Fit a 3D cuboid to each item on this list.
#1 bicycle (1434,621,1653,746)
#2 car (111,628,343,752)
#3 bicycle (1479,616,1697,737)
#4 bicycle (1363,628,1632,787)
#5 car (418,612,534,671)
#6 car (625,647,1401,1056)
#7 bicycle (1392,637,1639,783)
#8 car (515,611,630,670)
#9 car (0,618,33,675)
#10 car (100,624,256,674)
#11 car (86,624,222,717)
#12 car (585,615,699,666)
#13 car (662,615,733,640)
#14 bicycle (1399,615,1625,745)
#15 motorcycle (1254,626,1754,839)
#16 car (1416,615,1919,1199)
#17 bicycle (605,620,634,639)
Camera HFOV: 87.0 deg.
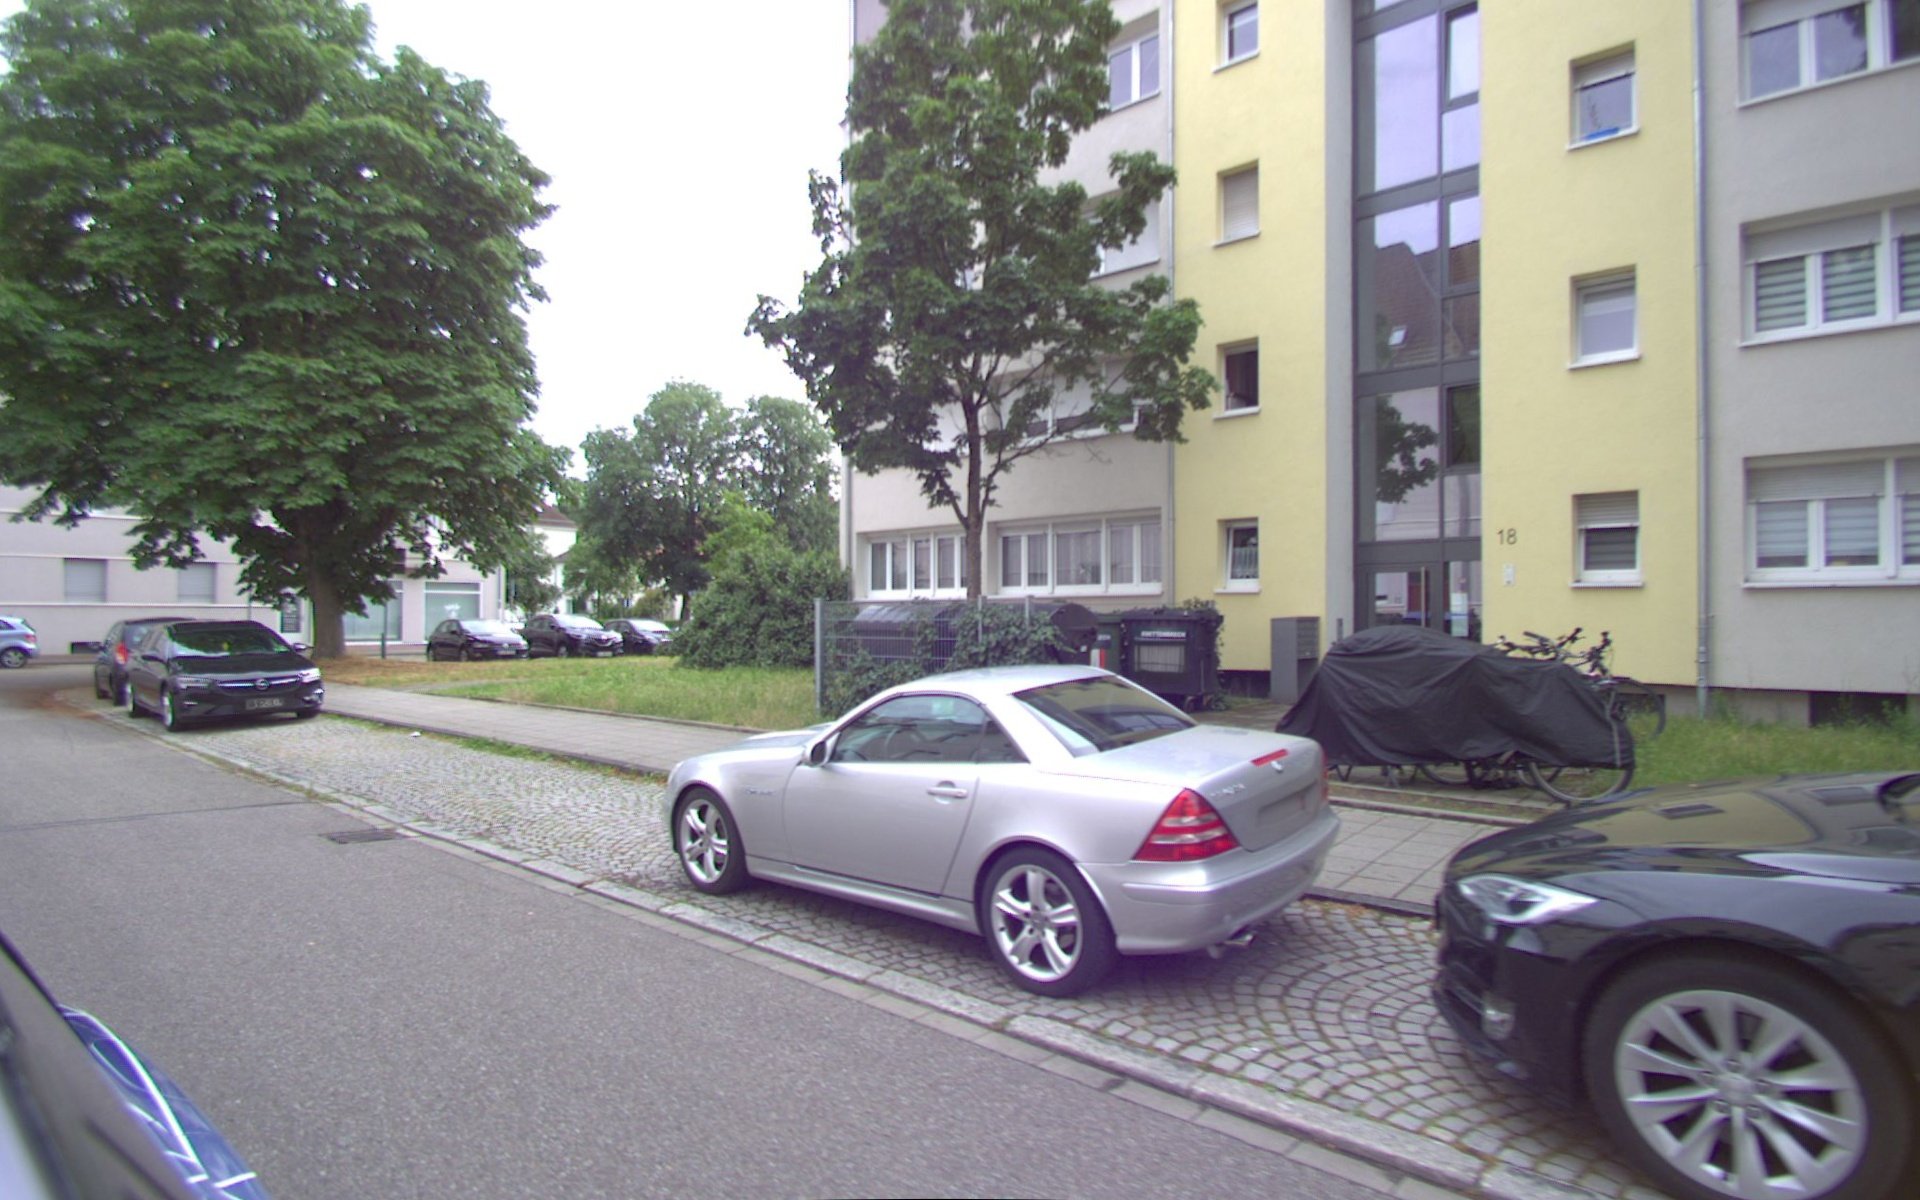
[{"bbox_3d":[5.650,0.764,9.874,1.774,1.109,0.545,-1,-1,42],"label":"bicycle"},{"bbox_3d":[-11.120,1.206,15.203,4.833,1.475,1.848,-1,1,42],"label":"car"},{"bbox_3d":[6.233,0.720,10.121,1.774,1.109,0.545,-1,-1,42],"label":"bicycle"},{"bbox_3d":[4.172,0.782,7.954,1.774,1.109,0.545,-1,-1,42],"label":"bicycle"},{"bbox_3d":[-14.011,1.157,29.211,3.843,1.589,1.804,-1,-2,44],"label":"car"},{"bbox_3d":[0.021,0.965,5.478,4.013,1.268,1.679,-1,0,41],"label":"car"},{"bbox_3d":[4.738,0.892,8.723,1.774,1.109,0.545,-1,-1,42],"label":"bicycle"},{"bbox_3d":[-12.207,1.272,31.772,1.888,1.710,4.070,0,-2,-45],"label":"car"},{"bbox_3d":[-29.653,1.384,29.230,1.763,1.640,4.140,-2,-1,44],"label":"car"},{"bbox_3d":[-26.020,1.590,33.759,1.762,1.501,3.883,-2,-1,41],"label":"car"},{"bbox_3d":[-15.173,1.242,18.986,3.592,1.505,1.508,-1,1,44],"label":"car"},{"bbox_3d":[-10.676,1.349,33.769,1.814,1.578,4.359,0,-2,-45],"label":"car"},{"bbox_3d":[-17.307,1.805,66.544,4.874,1.578,1.880,-1,-1,36],"label":"car"},{"bbox_3d":[5.134,0.706,9.498,1.774,1.109,0.545,-1,-1,42],"label":"bicycle"},{"bbox_3d":[3.694,0.813,7.241,3.066,1.232,0.673,-1,-1,43],"label":"motorcycle"},{"bbox_3d":[3.688,0.772,2.137,4.627,1.432,1.822,-1,0,41],"label":"car"},{"bbox_3d":[-19.420,1.671,57.692,1.882,1.075,0.659,-1,-1,38],"label":"bicycle"}]
